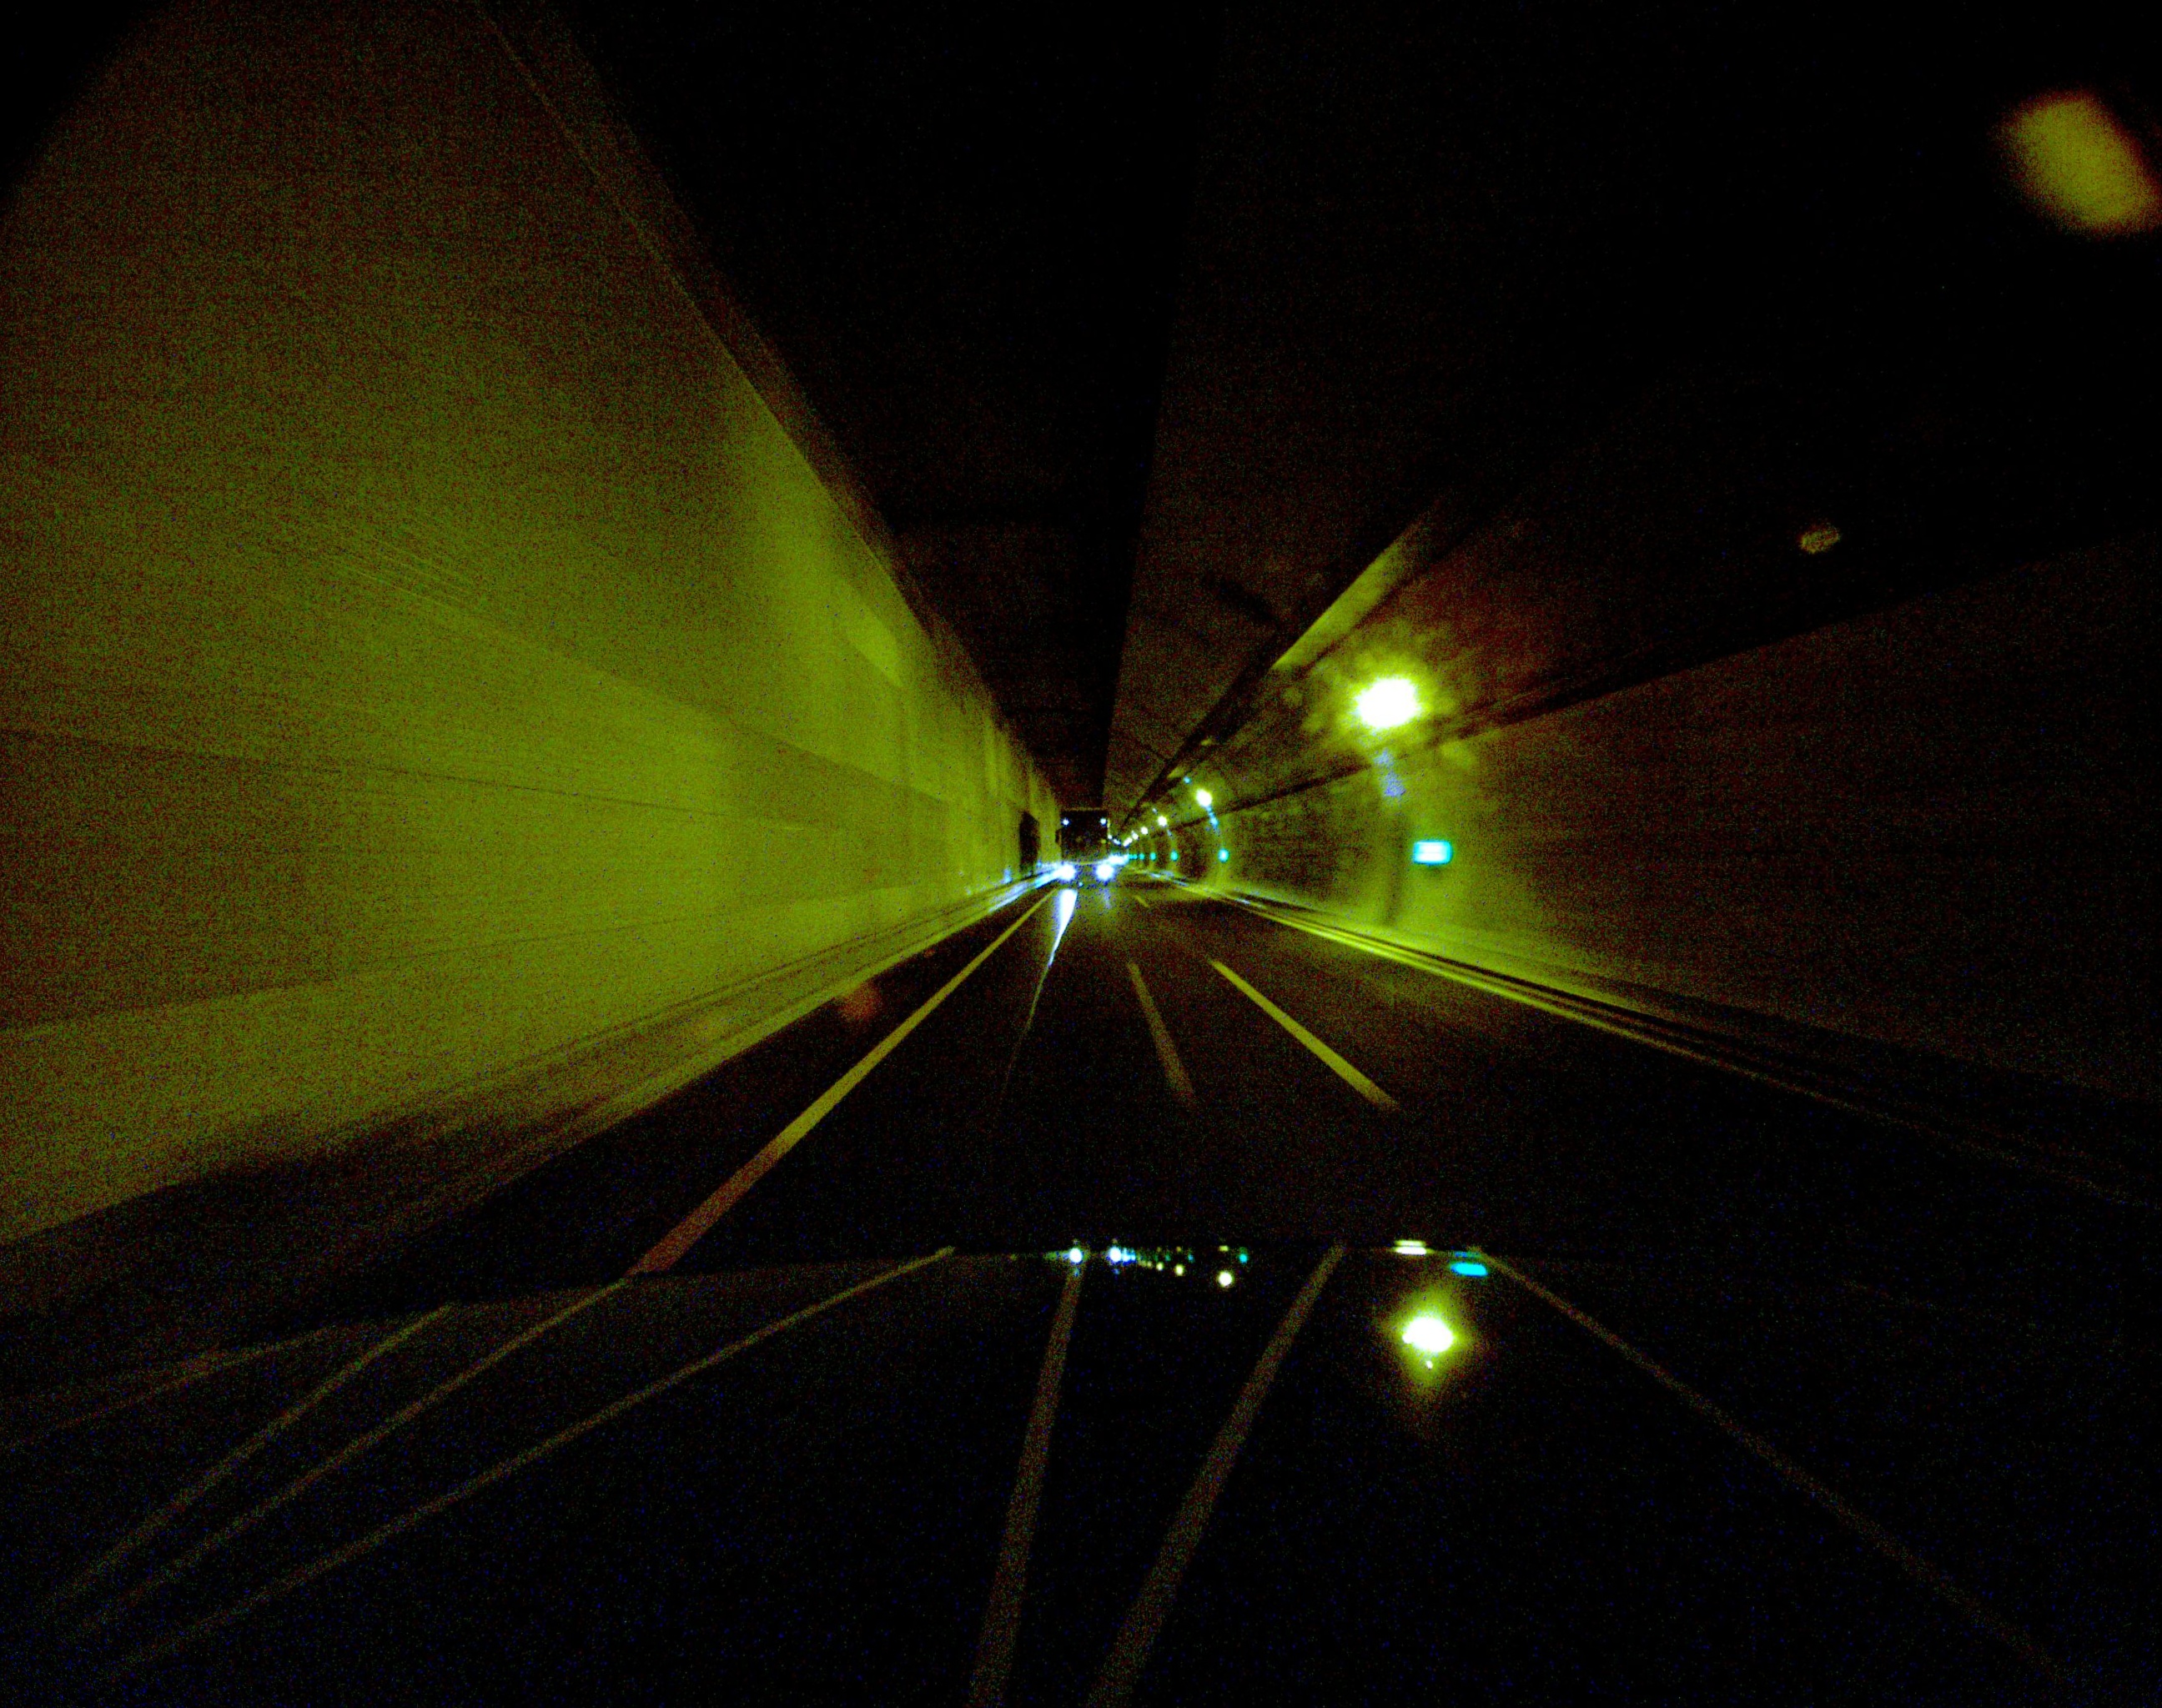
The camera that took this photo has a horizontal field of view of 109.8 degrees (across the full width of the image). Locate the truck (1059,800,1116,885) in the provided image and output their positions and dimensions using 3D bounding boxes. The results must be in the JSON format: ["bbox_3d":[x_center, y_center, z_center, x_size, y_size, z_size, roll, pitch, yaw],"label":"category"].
[{"bbox_3d":[0.371,-0.599,41.579,2.769,4.198,7.977,0,0,1],"label":"truck"}]
